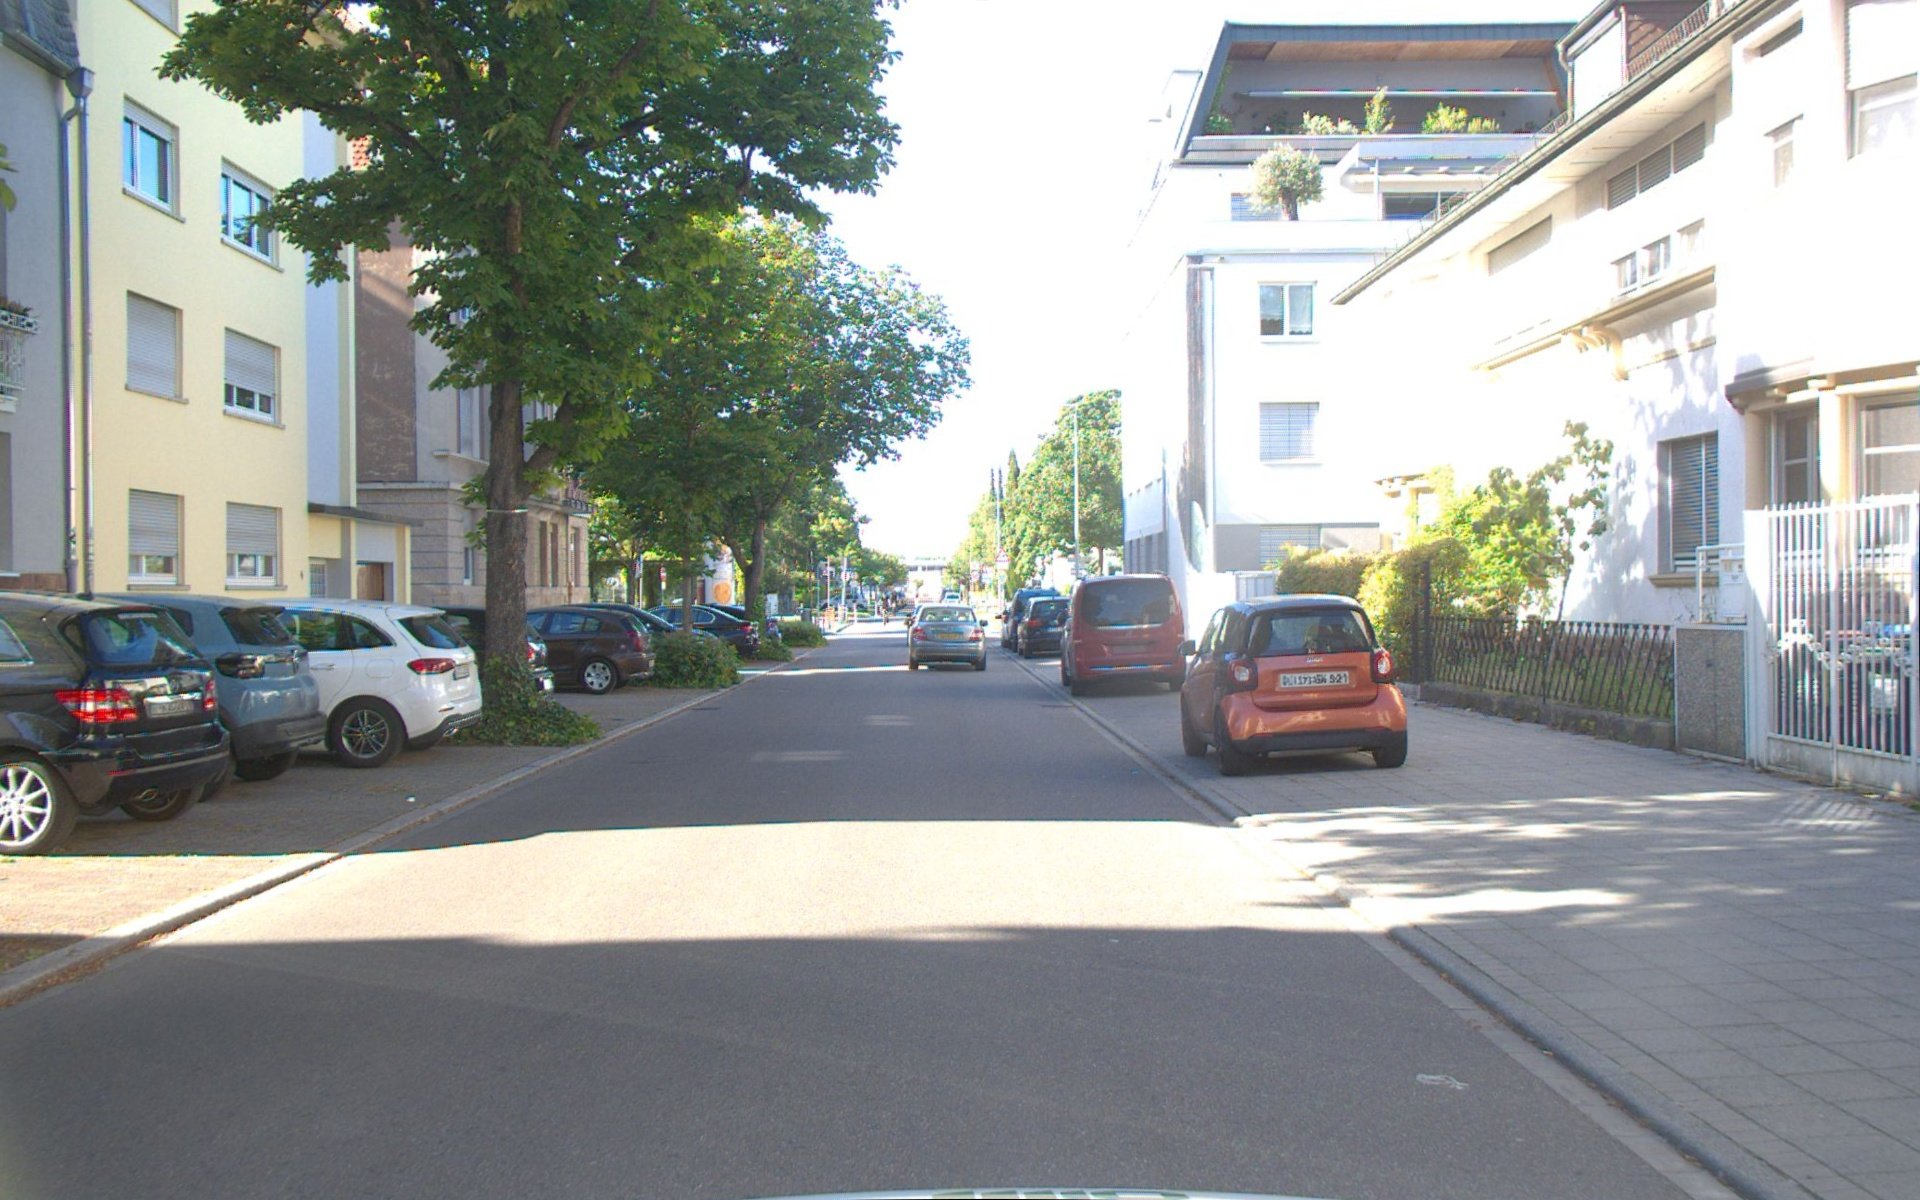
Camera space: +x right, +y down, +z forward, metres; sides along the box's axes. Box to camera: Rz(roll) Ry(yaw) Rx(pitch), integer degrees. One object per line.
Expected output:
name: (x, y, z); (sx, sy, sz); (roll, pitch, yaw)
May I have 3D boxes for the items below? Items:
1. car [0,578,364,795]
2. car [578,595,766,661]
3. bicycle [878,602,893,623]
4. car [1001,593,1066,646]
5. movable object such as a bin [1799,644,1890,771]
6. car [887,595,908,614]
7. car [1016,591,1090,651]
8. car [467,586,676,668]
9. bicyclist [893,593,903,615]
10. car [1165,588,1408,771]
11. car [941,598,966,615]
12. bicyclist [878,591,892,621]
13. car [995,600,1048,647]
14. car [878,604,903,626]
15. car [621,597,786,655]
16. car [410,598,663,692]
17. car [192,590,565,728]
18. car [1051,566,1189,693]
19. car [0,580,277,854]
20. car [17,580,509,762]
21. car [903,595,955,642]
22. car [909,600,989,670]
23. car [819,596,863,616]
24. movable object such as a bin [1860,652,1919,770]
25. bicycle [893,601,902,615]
car: (-6.987, 0.648, 13.622); (3.442, 1.603, 1.771); (2, 0, 2)
car: (-7.134, 0.694, 41.329); (4.384, 1.505, 1.867); (1, -1, -3)
bicycle: (-3.955, 0.642, 87.638); (0.705, 1.098, 1.890); (0, 0, -1)
car: (2.217, 0.615, 50.710); (1.648, 1.460, 4.264); (-4, -1, -1)
movable object such as a bin: (7.111, 0.853, 13.305); (0.441, 0.987, 0.491); (2, -1, -1)
car: (-6.107, 0.432, 160.587); (1.752, 1.559, 3.995); (-2, -3, -5)
car: (2.468, 0.545, 44.946); (1.701, 1.558, 4.177); (0, 0, -1)
car: (-8.164, 0.578, 35.103); (4.095, 1.526, 1.996); (2, -1, -8)
bicyclist: (-4.275, 0.279, 113.438); (0.666, 1.535, 0.655); (0, 0, 0)
car: (2.984, 0.680, 15.718); (1.560, 1.506, 3.246); (-2, 0, -1)
car: (-0.571, 0.536, 139.644); (1.689, 1.353, 3.995); (0, 0, -5)
bicyclist: (-3.980, 0.297, 87.725); (0.706, 1.564, 1.137); (0, 0, -1)
car: (2.018, 0.795, 55.068); (1.532, 1.435, 3.729); (-4, -1, 0)
car: (-5.776, 1.216, 137.378); (1.836, 1.758, 3.995); (0, 0, -5)
car: (-7.204, 0.734, 46.816); (4.384, 1.505, 1.867); (1, -1, -3)
car: (-7.239, 0.755, 28.548); (3.907, 1.446, 1.770); (2, 1, -2)
car: (-6.976, 0.712, 20.226); (3.947, 1.469, 1.796); (2, -1, -8)
car: (2.628, 0.492, 28.325); (1.833, 1.938, 5.197); (-1, -1, 0)
car: (-6.896, 0.658, 10.900); (3.904, 1.603, 1.981); (2, 0, 2)
car: (-6.615, 0.653, 16.034); (3.941, 1.510, 1.806); (2, 0, -2)
car: (-1.070, 0.661, 56.312); (1.672, 1.473, 4.201); (2, -1, -2)
car: (-0.244, 0.794, 37.831); (1.691, 1.445, 3.959); (2, -1, 0)
car: (-9.482, 0.495, 131.765); (3.428, 1.560, 1.642); (0, 0, -8)
movable object such as a bin: (7.586, 0.891, 13.313); (0.413, 0.919, 0.447); (2, -1, -1)
bicycle: (-4.269, 0.525, 113.395); (0.577, 0.948, 1.850); (0, 0, 0)
